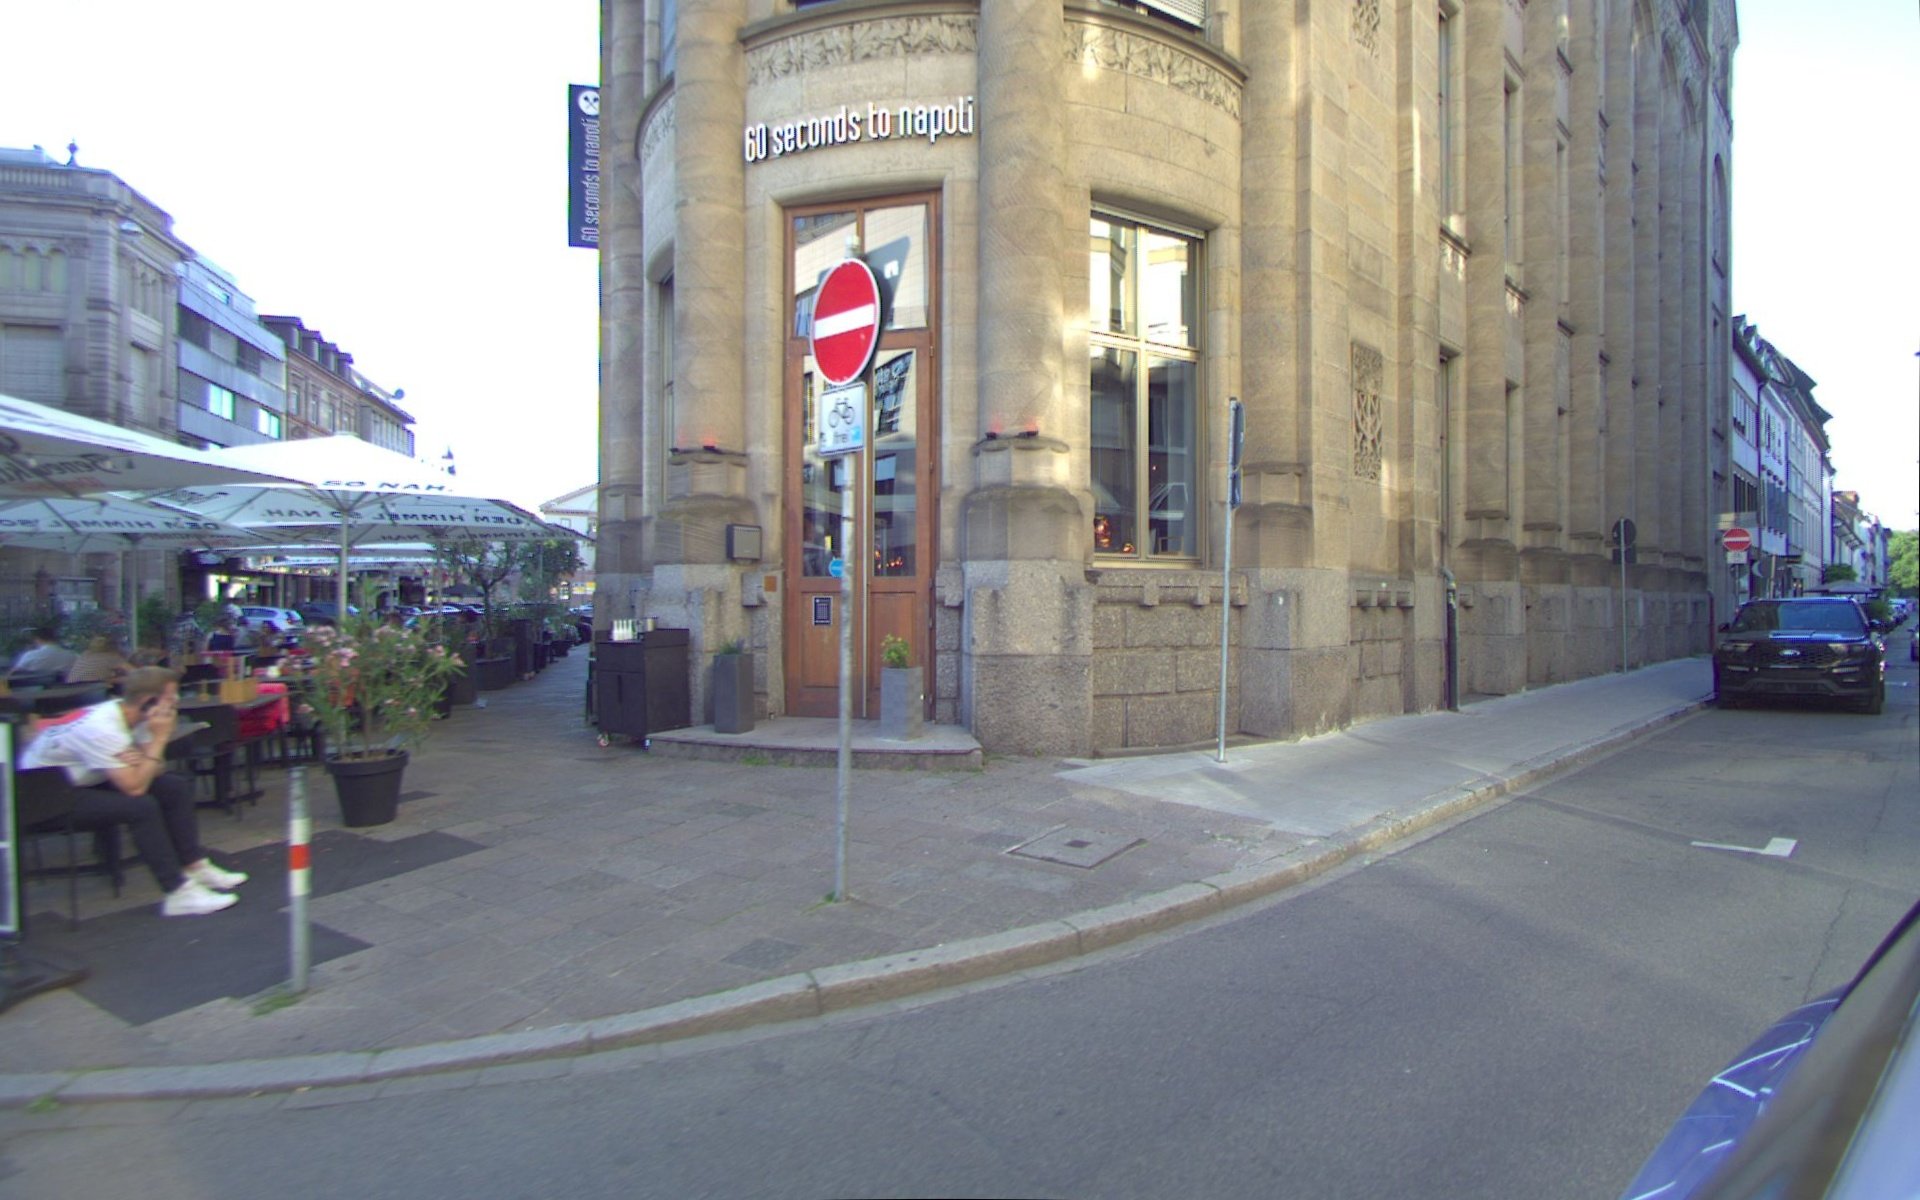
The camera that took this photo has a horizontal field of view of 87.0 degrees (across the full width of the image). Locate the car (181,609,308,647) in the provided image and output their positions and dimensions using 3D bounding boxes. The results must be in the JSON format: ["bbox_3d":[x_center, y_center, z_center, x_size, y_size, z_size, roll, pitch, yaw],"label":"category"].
[{"bbox_3d":[-29.528,1.126,41.865,3.916,1.431,1.758,-1,0,-13],"label":"car"}]

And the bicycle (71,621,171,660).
[{"bbox_3d":[-25.765,1.231,31.117,2.253,1.104,0.718,-1,-1,-18],"label":"bicycle"}]

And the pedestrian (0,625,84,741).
[{"bbox_3d":[-10.499,0.918,11.559,0.682,1.261,0.593,-1,-1,36],"label":"pedestrian"}]

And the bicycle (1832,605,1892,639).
[{"bbox_3d":[38.997,0.929,43.770,0.587,1.318,1.871,1,3,-45],"label":"bicycle"}]

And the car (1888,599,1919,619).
[{"bbox_3d":[83.482,0.760,89.438,1.993,1.698,4.387,-1,-1,44],"label":"car"}]

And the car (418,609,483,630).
[{"bbox_3d":[-37.050,1.391,73.701,3.916,1.431,1.758,-1,0,-13],"label":"car"}]

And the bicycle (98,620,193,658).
[{"bbox_3d":[-25.947,1.236,32.284,2.253,1.104,0.718,-1,-1,-18],"label":"bicycle"}]

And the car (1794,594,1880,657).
[{"bbox_3d":[27.211,0.748,31.356,4.170,1.829,1.671,0,-1,-45],"label":"car"}]

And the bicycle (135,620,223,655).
[{"bbox_3d":[-26.493,1.249,34.388,2.253,1.104,0.718,-1,-1,-18],"label":"bicycle"}]

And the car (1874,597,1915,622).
[{"bbox_3d":[65.700,0.657,71.104,1.993,1.698,4.387,-1,-1,44],"label":"car"}]

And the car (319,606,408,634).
[{"bbox_3d":[-33.091,1.089,56.237,3.916,1.431,1.758,-1,0,-13],"label":"car"}]

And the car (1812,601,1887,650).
[{"bbox_3d":[30.669,0.829,34.852,1.690,1.536,4.911,-1,-1,44],"label":"car"}]

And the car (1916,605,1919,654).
[{"bbox_3d":[31.209,0.892,31.550,1.993,1.440,4.387,-1,-1,44],"label":"car"}]

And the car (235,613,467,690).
[{"bbox_3d":[-13.166,1.042,22.042,1.749,1.431,4.006,-1,0,43],"label":"car"}]

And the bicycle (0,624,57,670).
[{"bbox_3d":[-24.332,1.197,25.502,2.253,1.104,0.718,-1,-1,-18],"label":"bicycle"}]

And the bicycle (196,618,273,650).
[{"bbox_3d":[-27.437,1.272,38.286,2.253,1.104,0.718,-1,-1,-18],"label":"bicycle"}]

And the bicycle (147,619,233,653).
[{"bbox_3d":[-26.762,1.255,35.219,2.253,1.104,0.718,-1,-1,-18],"label":"bicycle"}]

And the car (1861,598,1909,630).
[{"bbox_3d":[54.985,0.814,60.153,1.993,1.869,3.936,-1,-1,44],"label":"car"}]

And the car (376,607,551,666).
[{"bbox_3d":[-13.699,0.963,28.061,1.749,1.431,4.006,-1,0,43],"label":"car"}]

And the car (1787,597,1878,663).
[{"bbox_3d":[23.983,0.764,27.831,1.772,1.687,3.940,0,0,41],"label":"car"}]

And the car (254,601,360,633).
[{"bbox_3d":[-31.522,0.825,48.955,3.916,1.431,1.758,-1,0,-13],"label":"car"}]

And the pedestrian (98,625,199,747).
[{"bbox_3d":[-8.760,0.905,10.952,0.588,1.261,0.687,0,-1,-11],"label":"pedestrian"}]

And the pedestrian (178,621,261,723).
[{"bbox_3d":[-9.439,0.901,12.921,0.589,1.261,0.686,0,-1,-6],"label":"pedestrian"}]

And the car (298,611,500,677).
[{"bbox_3d":[-13.803,1.024,25.046,1.749,1.431,4.044,-1,0,43],"label":"car"}]

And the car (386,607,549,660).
[{"bbox_3d":[-14.892,0.969,30.728,1.749,1.431,4.119,-1,0,43],"label":"car"}]

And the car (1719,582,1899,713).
[{"bbox_3d":[13.915,0.663,16.481,1.993,1.806,4.857,-1,-1,43],"label":"car"}]

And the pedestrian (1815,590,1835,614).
[{"bbox_3d":[46.099,0.084,53.958,0.635,1.259,0.735,0,-1,-44],"label":"pedestrian"}]

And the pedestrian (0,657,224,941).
[{"bbox_3d":[-4.101,0.902,4.932,0.806,1.204,0.607,0,-1,-35],"label":"pedestrian"}]

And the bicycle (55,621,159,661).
[{"bbox_3d":[-25.505,1.225,30.298,2.253,1.104,0.718,-1,-1,-18],"label":"bicycle"}]

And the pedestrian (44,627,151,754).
[{"bbox_3d":[-8.540,0.879,10.043,0.588,1.204,0.574,0,-1,-11],"label":"pedestrian"}]

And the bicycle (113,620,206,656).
[{"bbox_3d":[-26.188,1.242,33.145,2.253,1.104,0.718,-1,-1,-18],"label":"bicycle"}]

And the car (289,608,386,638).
[{"bbox_3d":[-32.144,1.165,52.323,3.916,1.431,1.758,-1,0,-13],"label":"car"}]

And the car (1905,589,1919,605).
[{"bbox_3d":[117.939,-0.351,124.812,1.993,1.919,4.387,-1,-1,44],"label":"car"}]

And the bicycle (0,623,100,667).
[{"bbox_3d":[-24.837,1.209,27.390,2.253,1.104,0.718,-1,-1,-18],"label":"bicycle"}]

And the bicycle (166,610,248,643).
[{"bbox_3d":[-27.046,0.930,36.369,2.253,1.104,0.718,-1,-1,-18],"label":"bicycle"}]

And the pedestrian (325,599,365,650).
[{"bbox_3d":[-21.868,0.861,36.018,0.953,1.772,1.004,0,-1,-12],"label":"pedestrian"}]

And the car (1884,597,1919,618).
[{"bbox_3d":[75.977,0.583,81.671,1.993,1.698,4.387,-1,-1,44],"label":"car"}]

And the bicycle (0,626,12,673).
[{"bbox_3d":[-23.709,1.183,23.582,2.253,1.104,0.718,-1,-1,-18],"label":"bicycle"}]

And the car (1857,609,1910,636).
[{"bbox_3d":[48.108,1.153,52.697,1.935,1.312,3.936,-1,-1,44],"label":"car"}]
